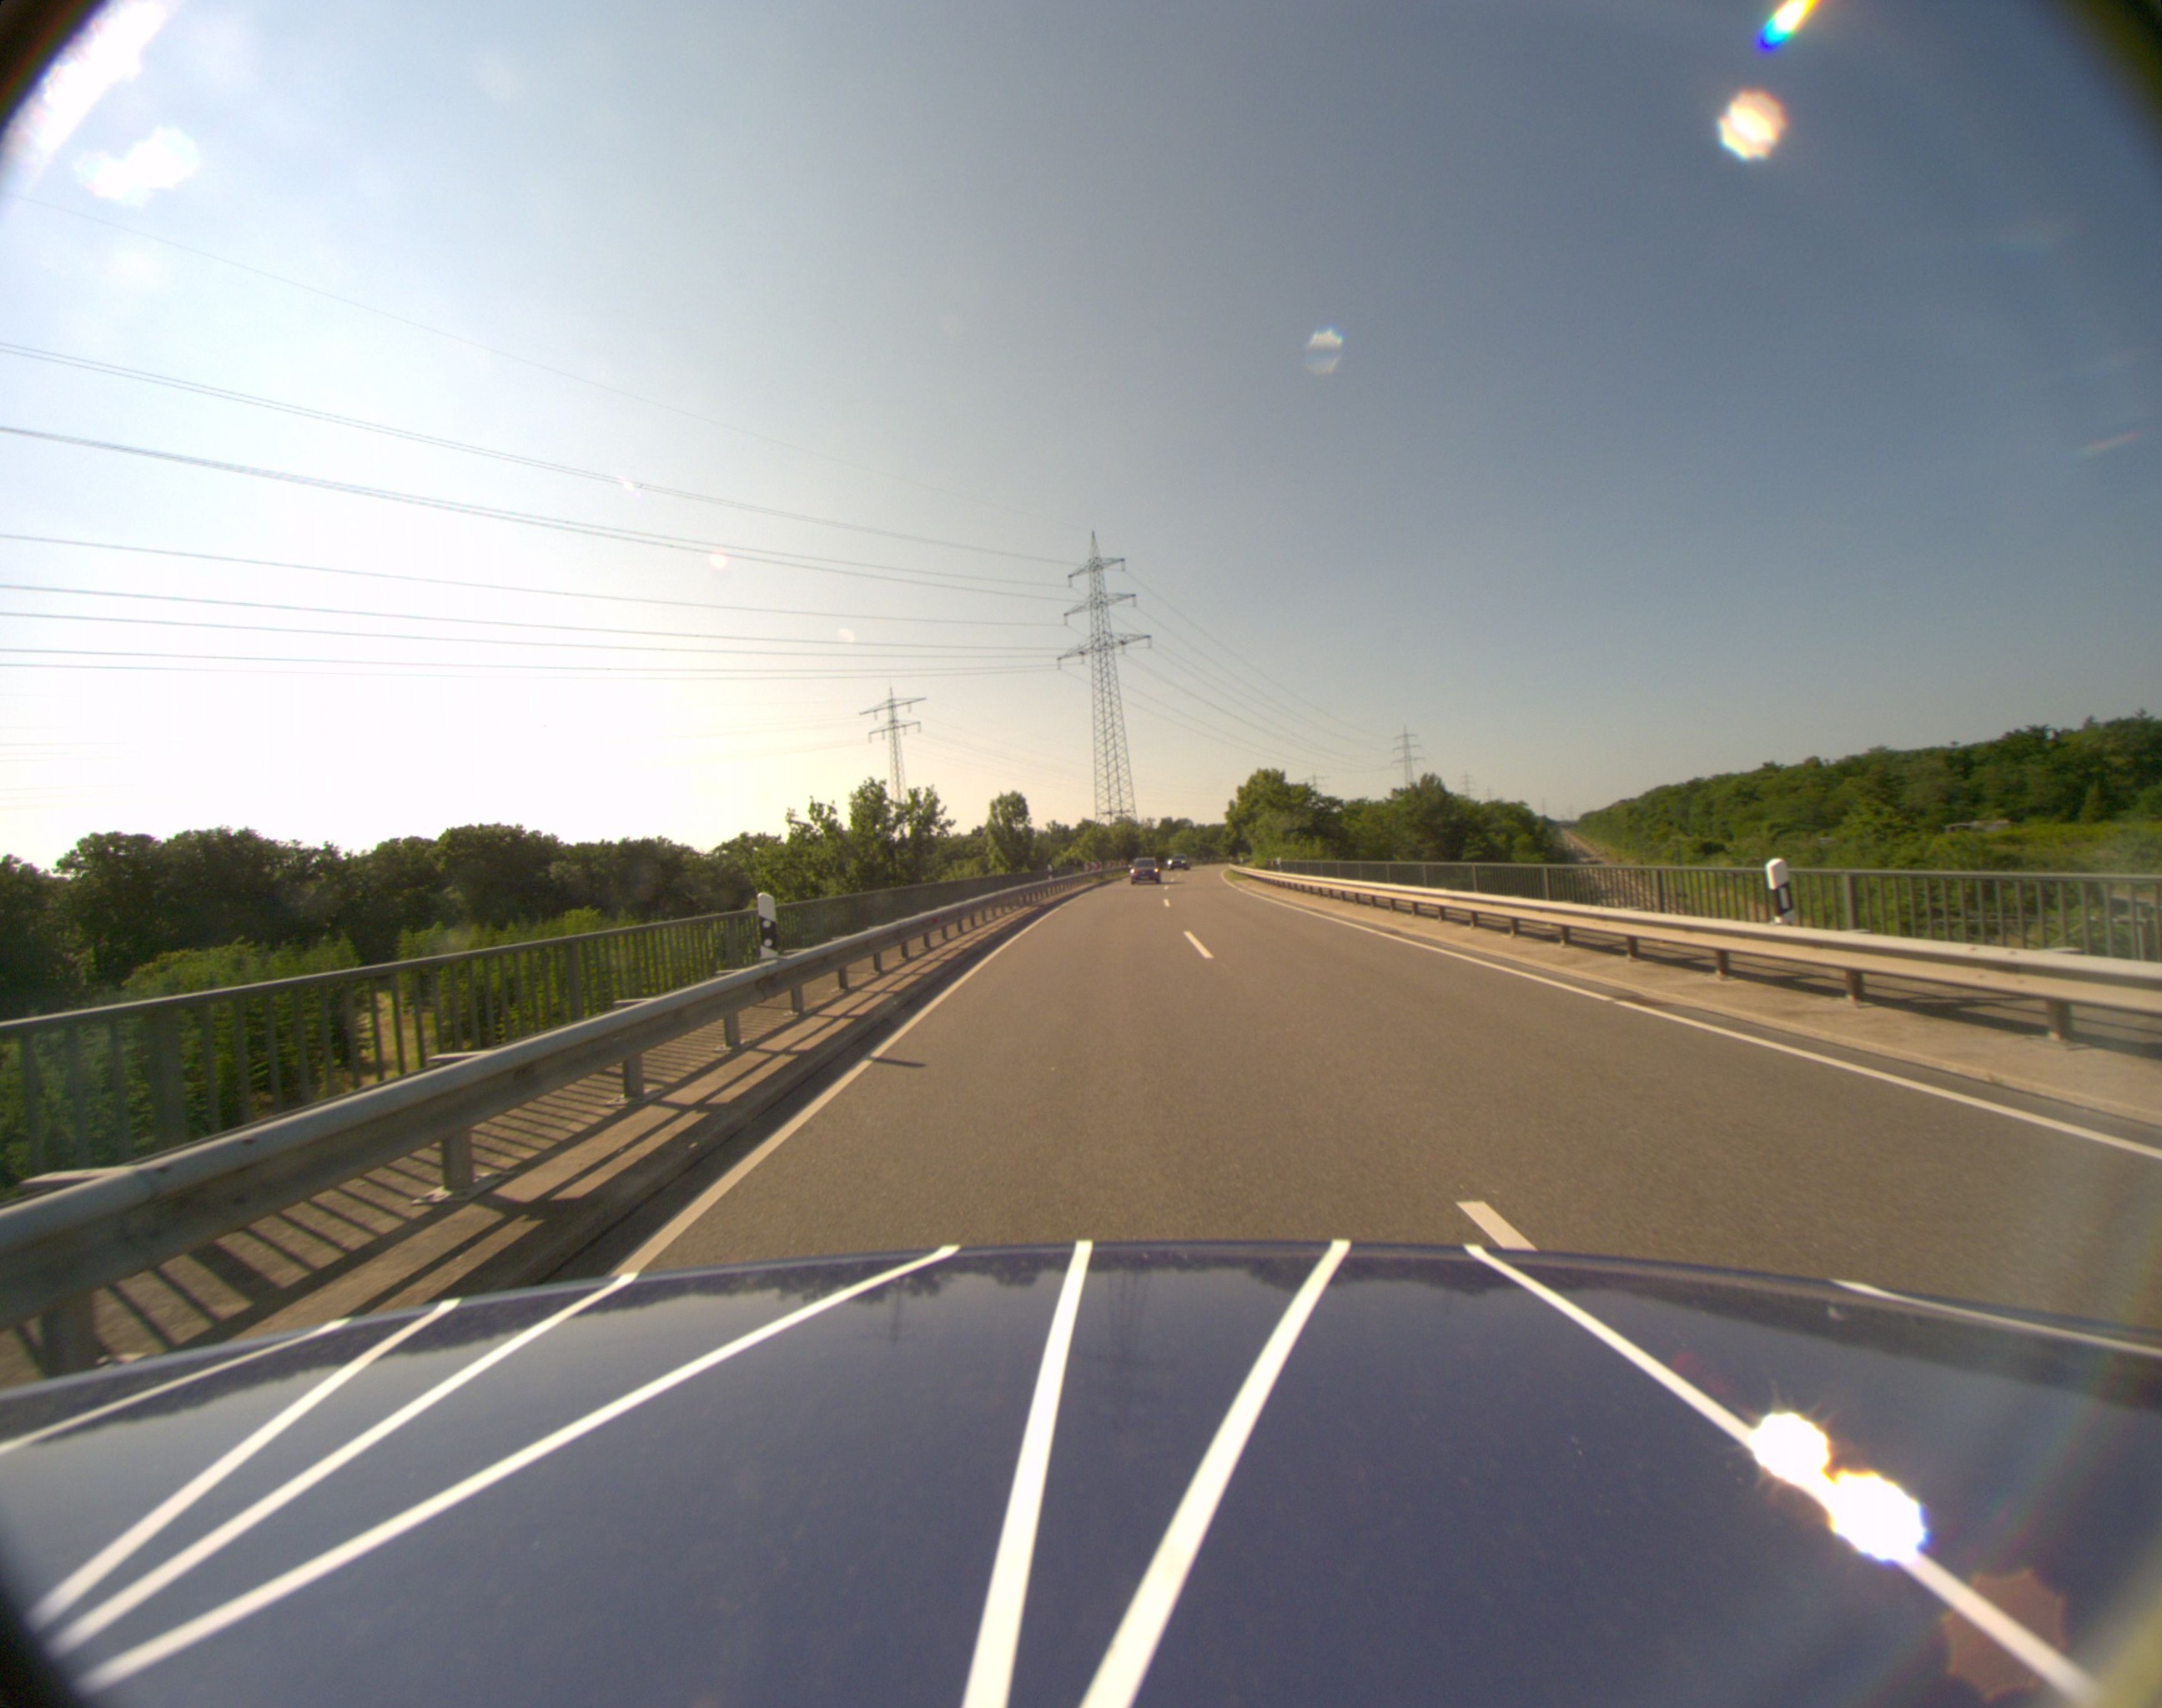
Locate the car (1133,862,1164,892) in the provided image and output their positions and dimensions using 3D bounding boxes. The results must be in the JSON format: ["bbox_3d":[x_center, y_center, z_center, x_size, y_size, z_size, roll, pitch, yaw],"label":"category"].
[{"bbox_3d":[4.002,1.330,44.597,1.606,1.486,4.002,-2,1,8],"label":"car"}]

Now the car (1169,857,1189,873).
[{"bbox_3d":[10.122,1.101,78.675,1.605,1.486,4.003,-2,1,13],"label":"car"}]
